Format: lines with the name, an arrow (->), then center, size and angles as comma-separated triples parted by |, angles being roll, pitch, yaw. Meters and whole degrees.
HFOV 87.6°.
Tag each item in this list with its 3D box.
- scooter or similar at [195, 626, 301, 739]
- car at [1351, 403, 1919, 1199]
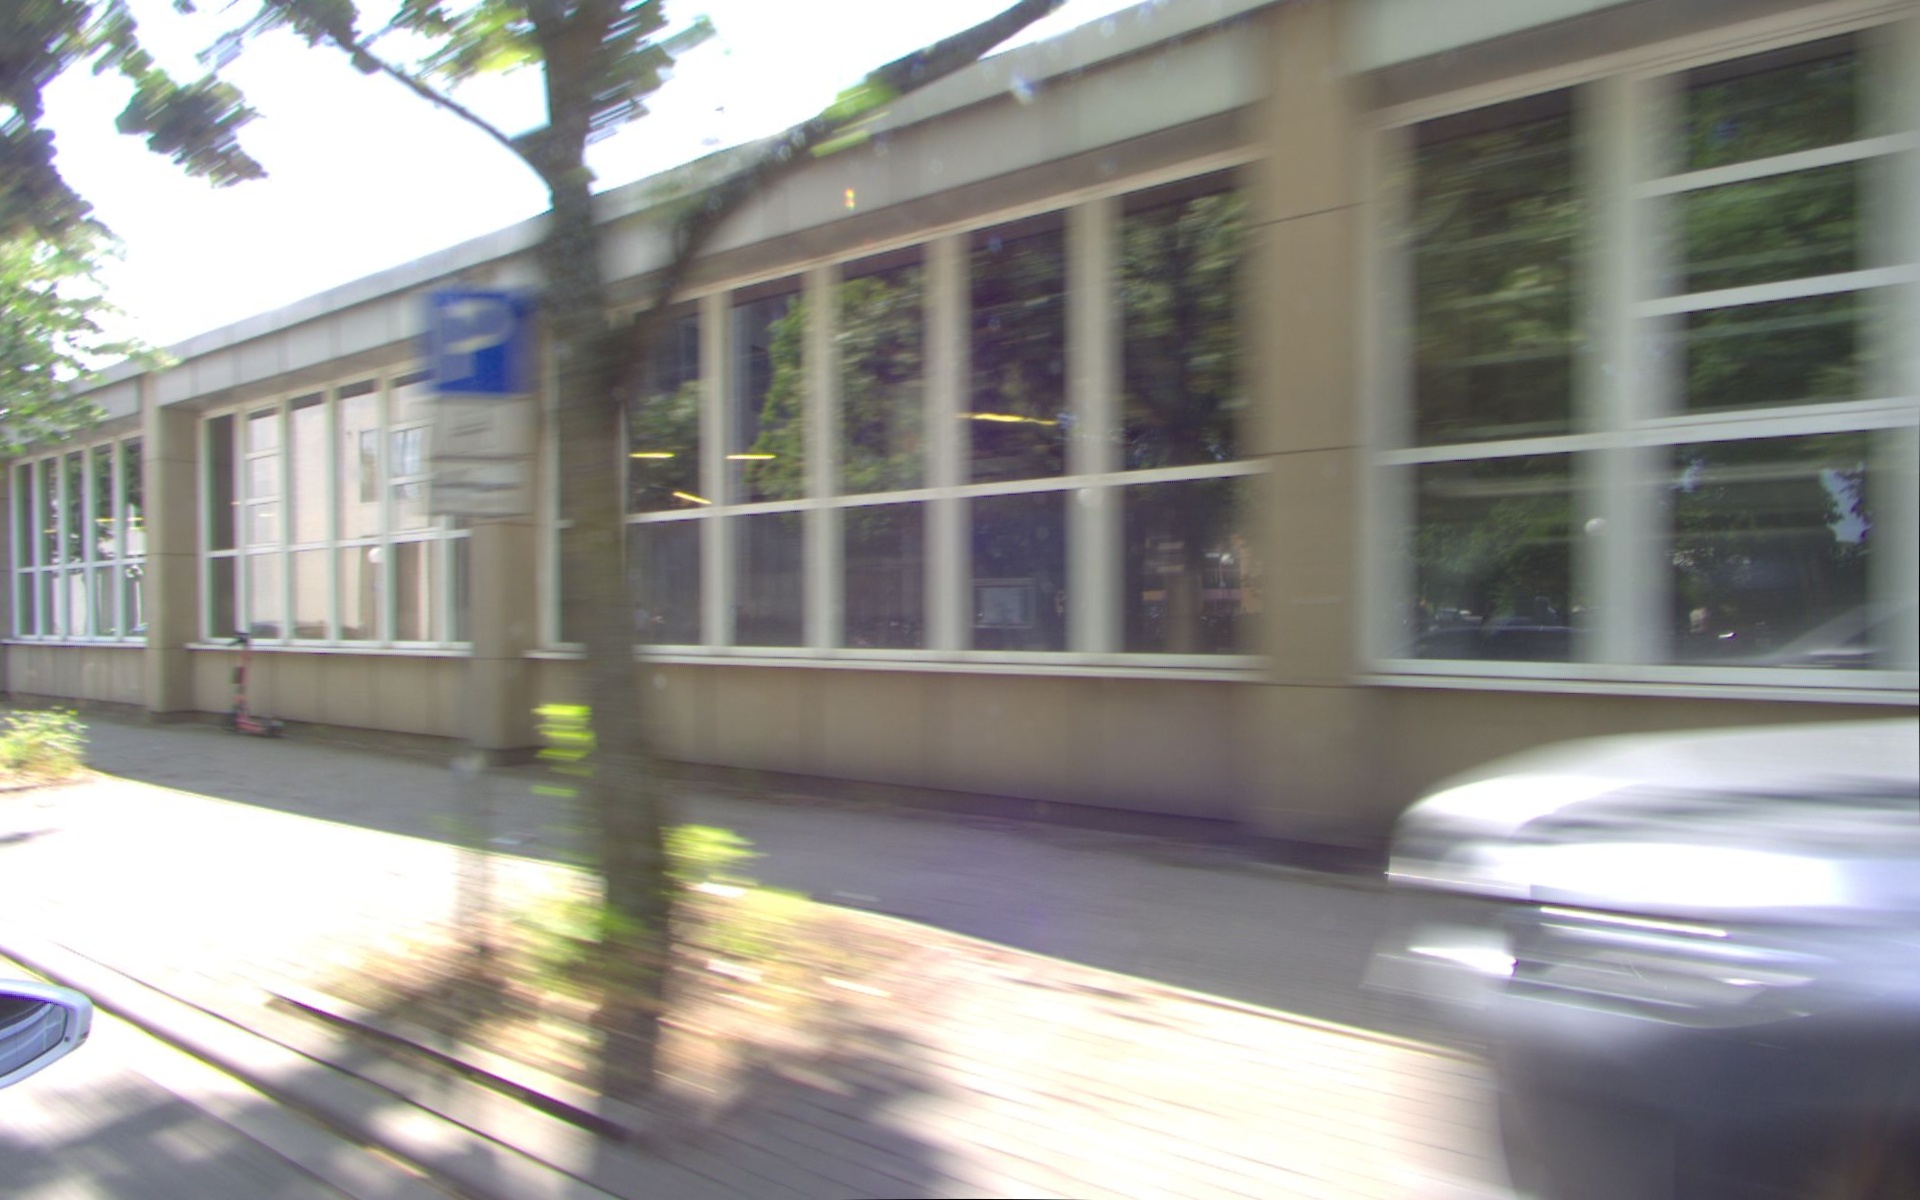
scooter or similar -> -8.548, 0.956, 12.005 | 1.464, 1.266, 0.509 | 0, 1, 33
car -> 3.059, 0.592, 1.334 | 4.516, 1.685, 1.820 | -1, -2, 31
